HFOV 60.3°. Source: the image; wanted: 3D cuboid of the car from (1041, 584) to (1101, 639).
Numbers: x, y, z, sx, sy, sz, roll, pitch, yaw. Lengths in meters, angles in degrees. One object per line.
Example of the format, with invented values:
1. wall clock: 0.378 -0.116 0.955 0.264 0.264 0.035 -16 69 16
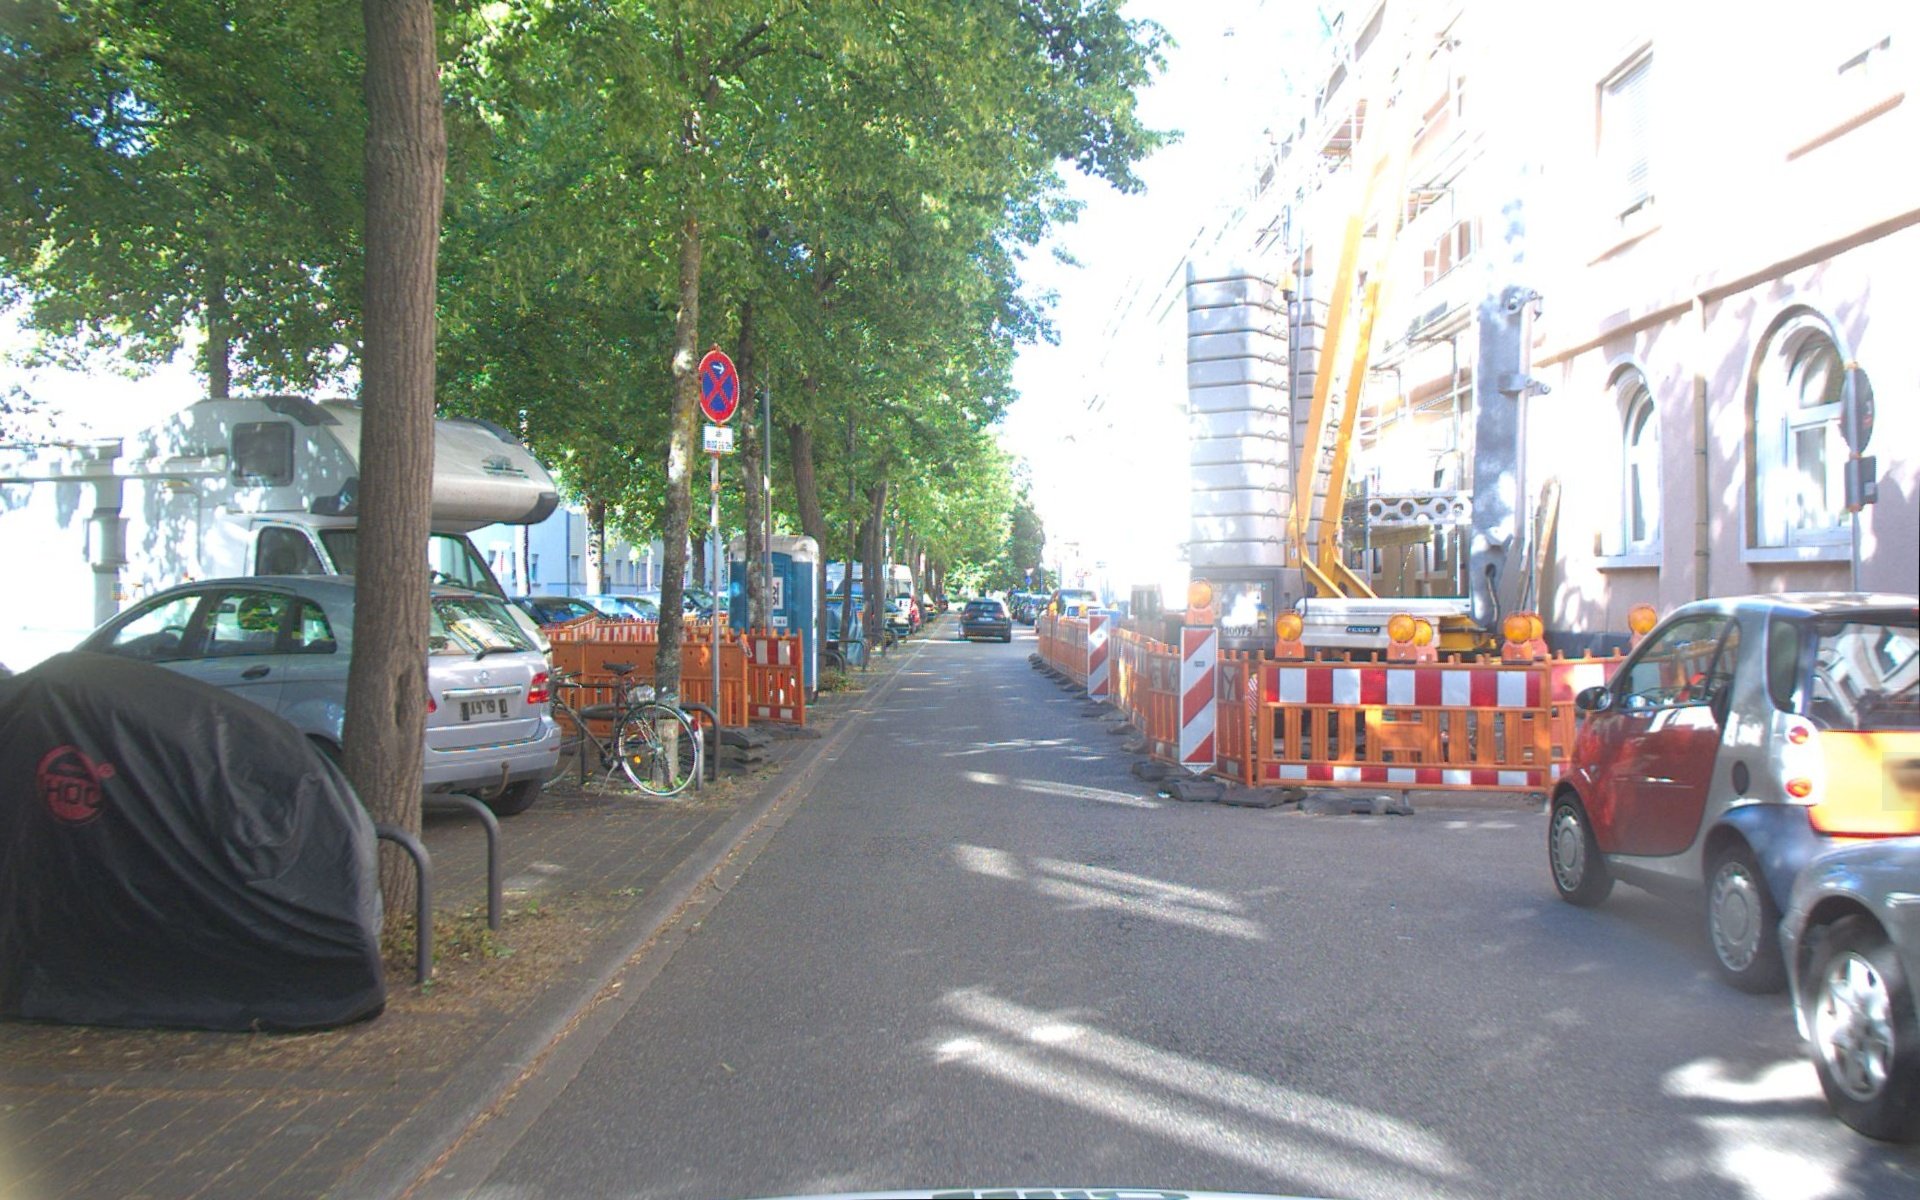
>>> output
1. car: 3.837 0.380 57.699 1.760 1.832 3.585 -1 0 -1

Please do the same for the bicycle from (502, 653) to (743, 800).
1. bicycle: -2.535 0.918 12.363 1.858 1.024 0.430 0 0 24

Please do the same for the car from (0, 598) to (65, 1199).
1. car: -4.315 0.734 4.133 3.877 1.439 1.821 0 0 28

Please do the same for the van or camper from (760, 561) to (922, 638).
1. van or camper: -4.108 -0.002 56.761 5.237 2.518 2.288 -1 0 33

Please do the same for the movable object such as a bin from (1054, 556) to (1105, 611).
1. movable object such as a bin: 5.072 -0.706 70.636 1.760 2.272 4.605 -1 0 -1

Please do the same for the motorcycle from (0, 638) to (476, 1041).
1. motorcycle: -3.081 0.793 5.895 2.495 1.280 0.763 -1 0 8

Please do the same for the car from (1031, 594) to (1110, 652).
1. car: 2.840 0.563 43.282 1.760 1.409 3.585 -1 0 -1

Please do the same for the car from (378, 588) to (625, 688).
1. car: -8.099 0.639 29.196 3.910 1.635 1.997 -1 0 28

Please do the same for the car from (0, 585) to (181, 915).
1. car: -5.986 0.694 8.605 3.885 1.500 1.817 0 0 35

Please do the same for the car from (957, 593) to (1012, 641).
1. car: 0.802 0.543 56.494 1.760 1.530 3.585 -1 0 -1

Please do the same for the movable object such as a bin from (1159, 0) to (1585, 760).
1. movable object such as a bin: 3.967 -2.098 15.881 3.416 6.878 2.362 0 0 33

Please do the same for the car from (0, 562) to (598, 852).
1. car: -4.564 0.616 11.121 3.875 1.657 1.821 0 0 26

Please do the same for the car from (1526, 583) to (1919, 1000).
1. car: 3.858 0.702 7.577 1.559 1.557 2.780 0 0 -1

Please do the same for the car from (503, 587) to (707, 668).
1. car: -7.614 0.572 35.438 3.910 1.635 1.997 -1 0 28

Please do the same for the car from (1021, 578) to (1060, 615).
1. car: 4.080 -0.187 84.216 1.760 1.832 3.585 -1 0 -1

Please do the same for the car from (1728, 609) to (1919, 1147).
1. car: 3.579 0.768 3.311 1.953 1.434 4.500 0 0 -1

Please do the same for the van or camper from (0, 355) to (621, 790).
1. van or camper: -6.494 -0.189 15.230 6.530 3.297 2.492 -1 0 29
